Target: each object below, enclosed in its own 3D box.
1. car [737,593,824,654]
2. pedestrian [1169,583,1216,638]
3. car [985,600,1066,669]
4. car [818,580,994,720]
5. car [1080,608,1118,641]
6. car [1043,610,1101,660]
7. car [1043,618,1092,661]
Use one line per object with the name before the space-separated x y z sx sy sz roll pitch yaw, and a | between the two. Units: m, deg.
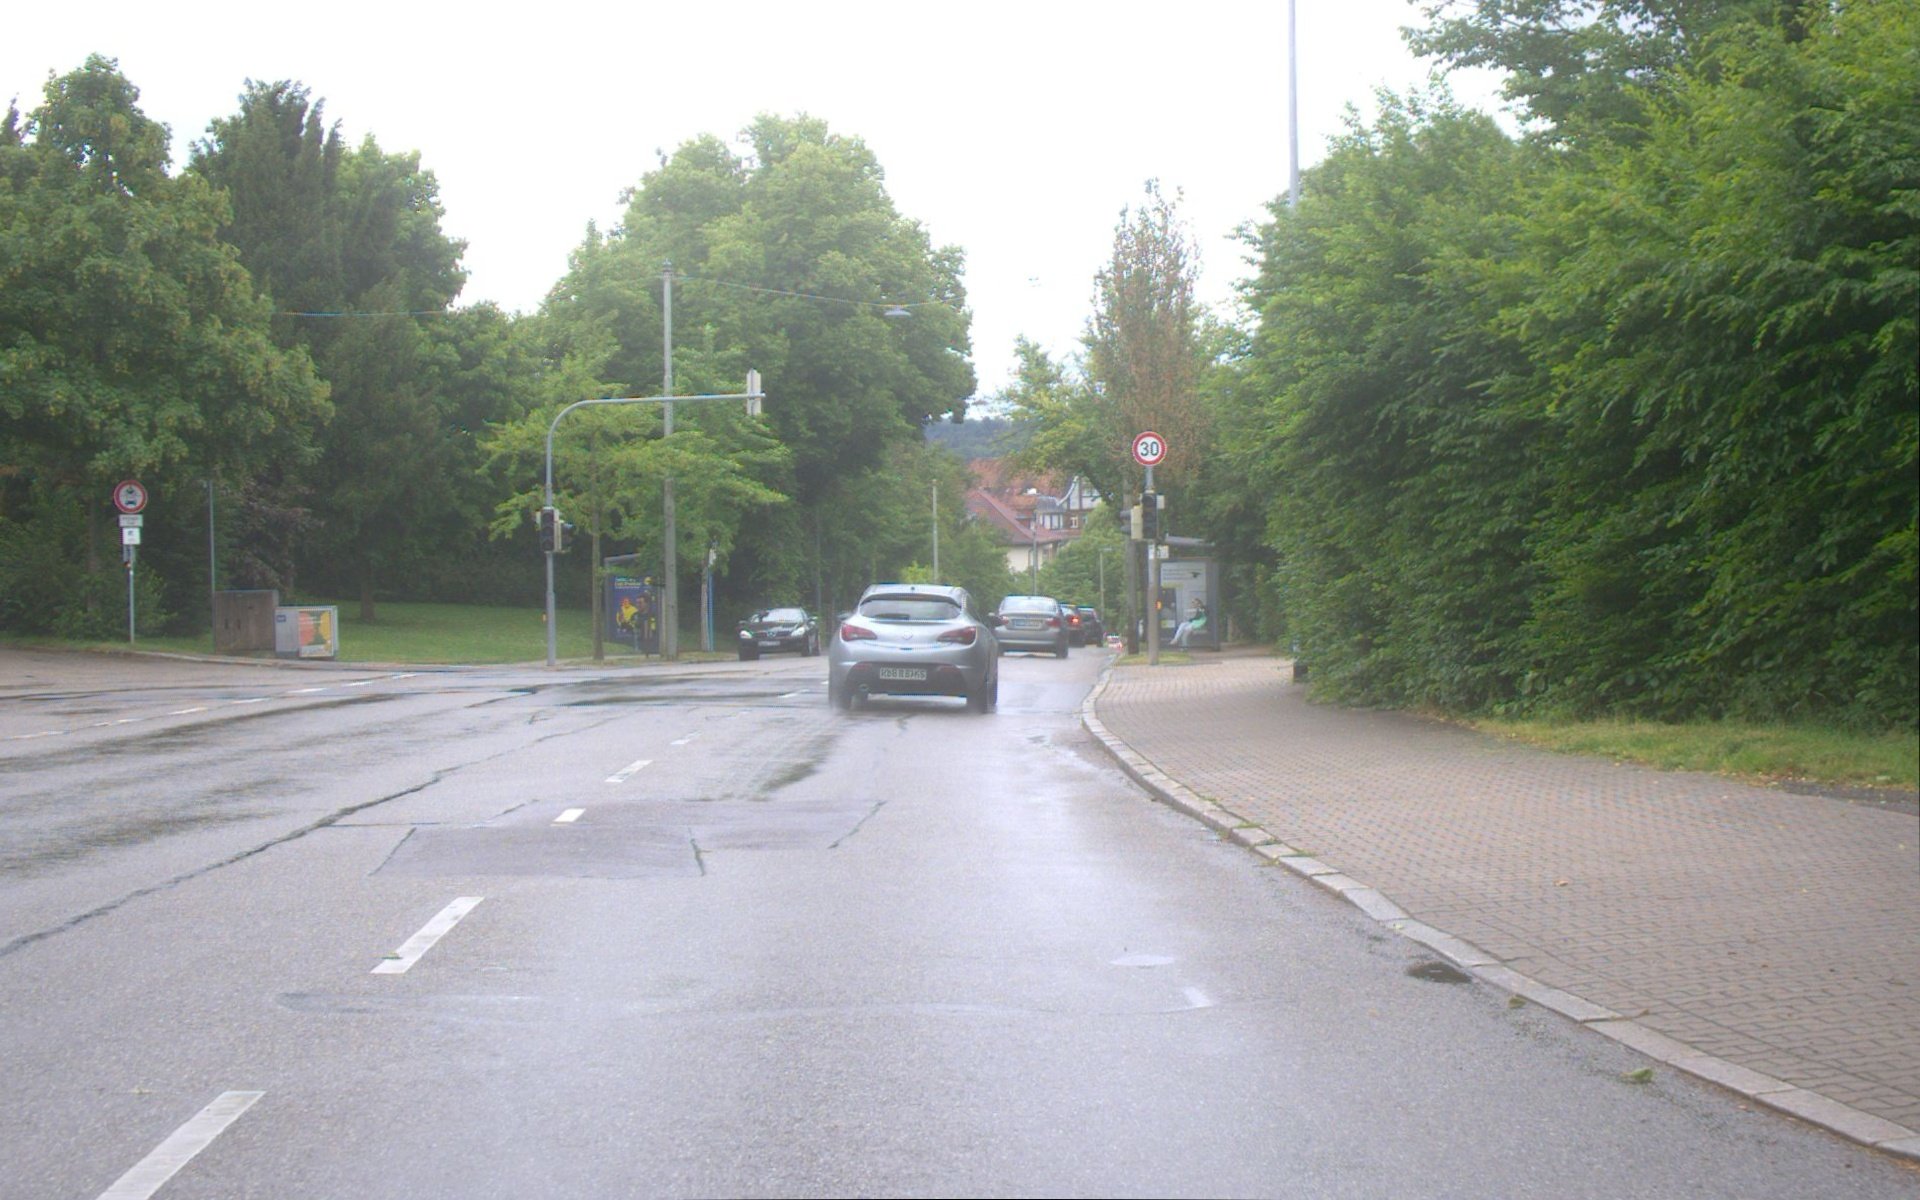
car | -4.402 0.553 84.888 1.661 1.302 4.083 -2 2 3
pedestrian | 5.856 0.251 86.564 1.074 1.351 0.918 -1 0 10
car | 1.532 0.773 79.088 1.721 1.459 4.000 3 0 2
car | -0.590 0.543 40.446 1.754 1.459 4.000 2 1 3
car | 6.522 1.146 161.771 1.721 1.459 4.000 3 0 2
car | 3.568 1.093 109.387 1.721 1.459 4.000 3 0 2
car | 4.012 1.459 127.647 1.721 1.459 4.000 3 0 2
